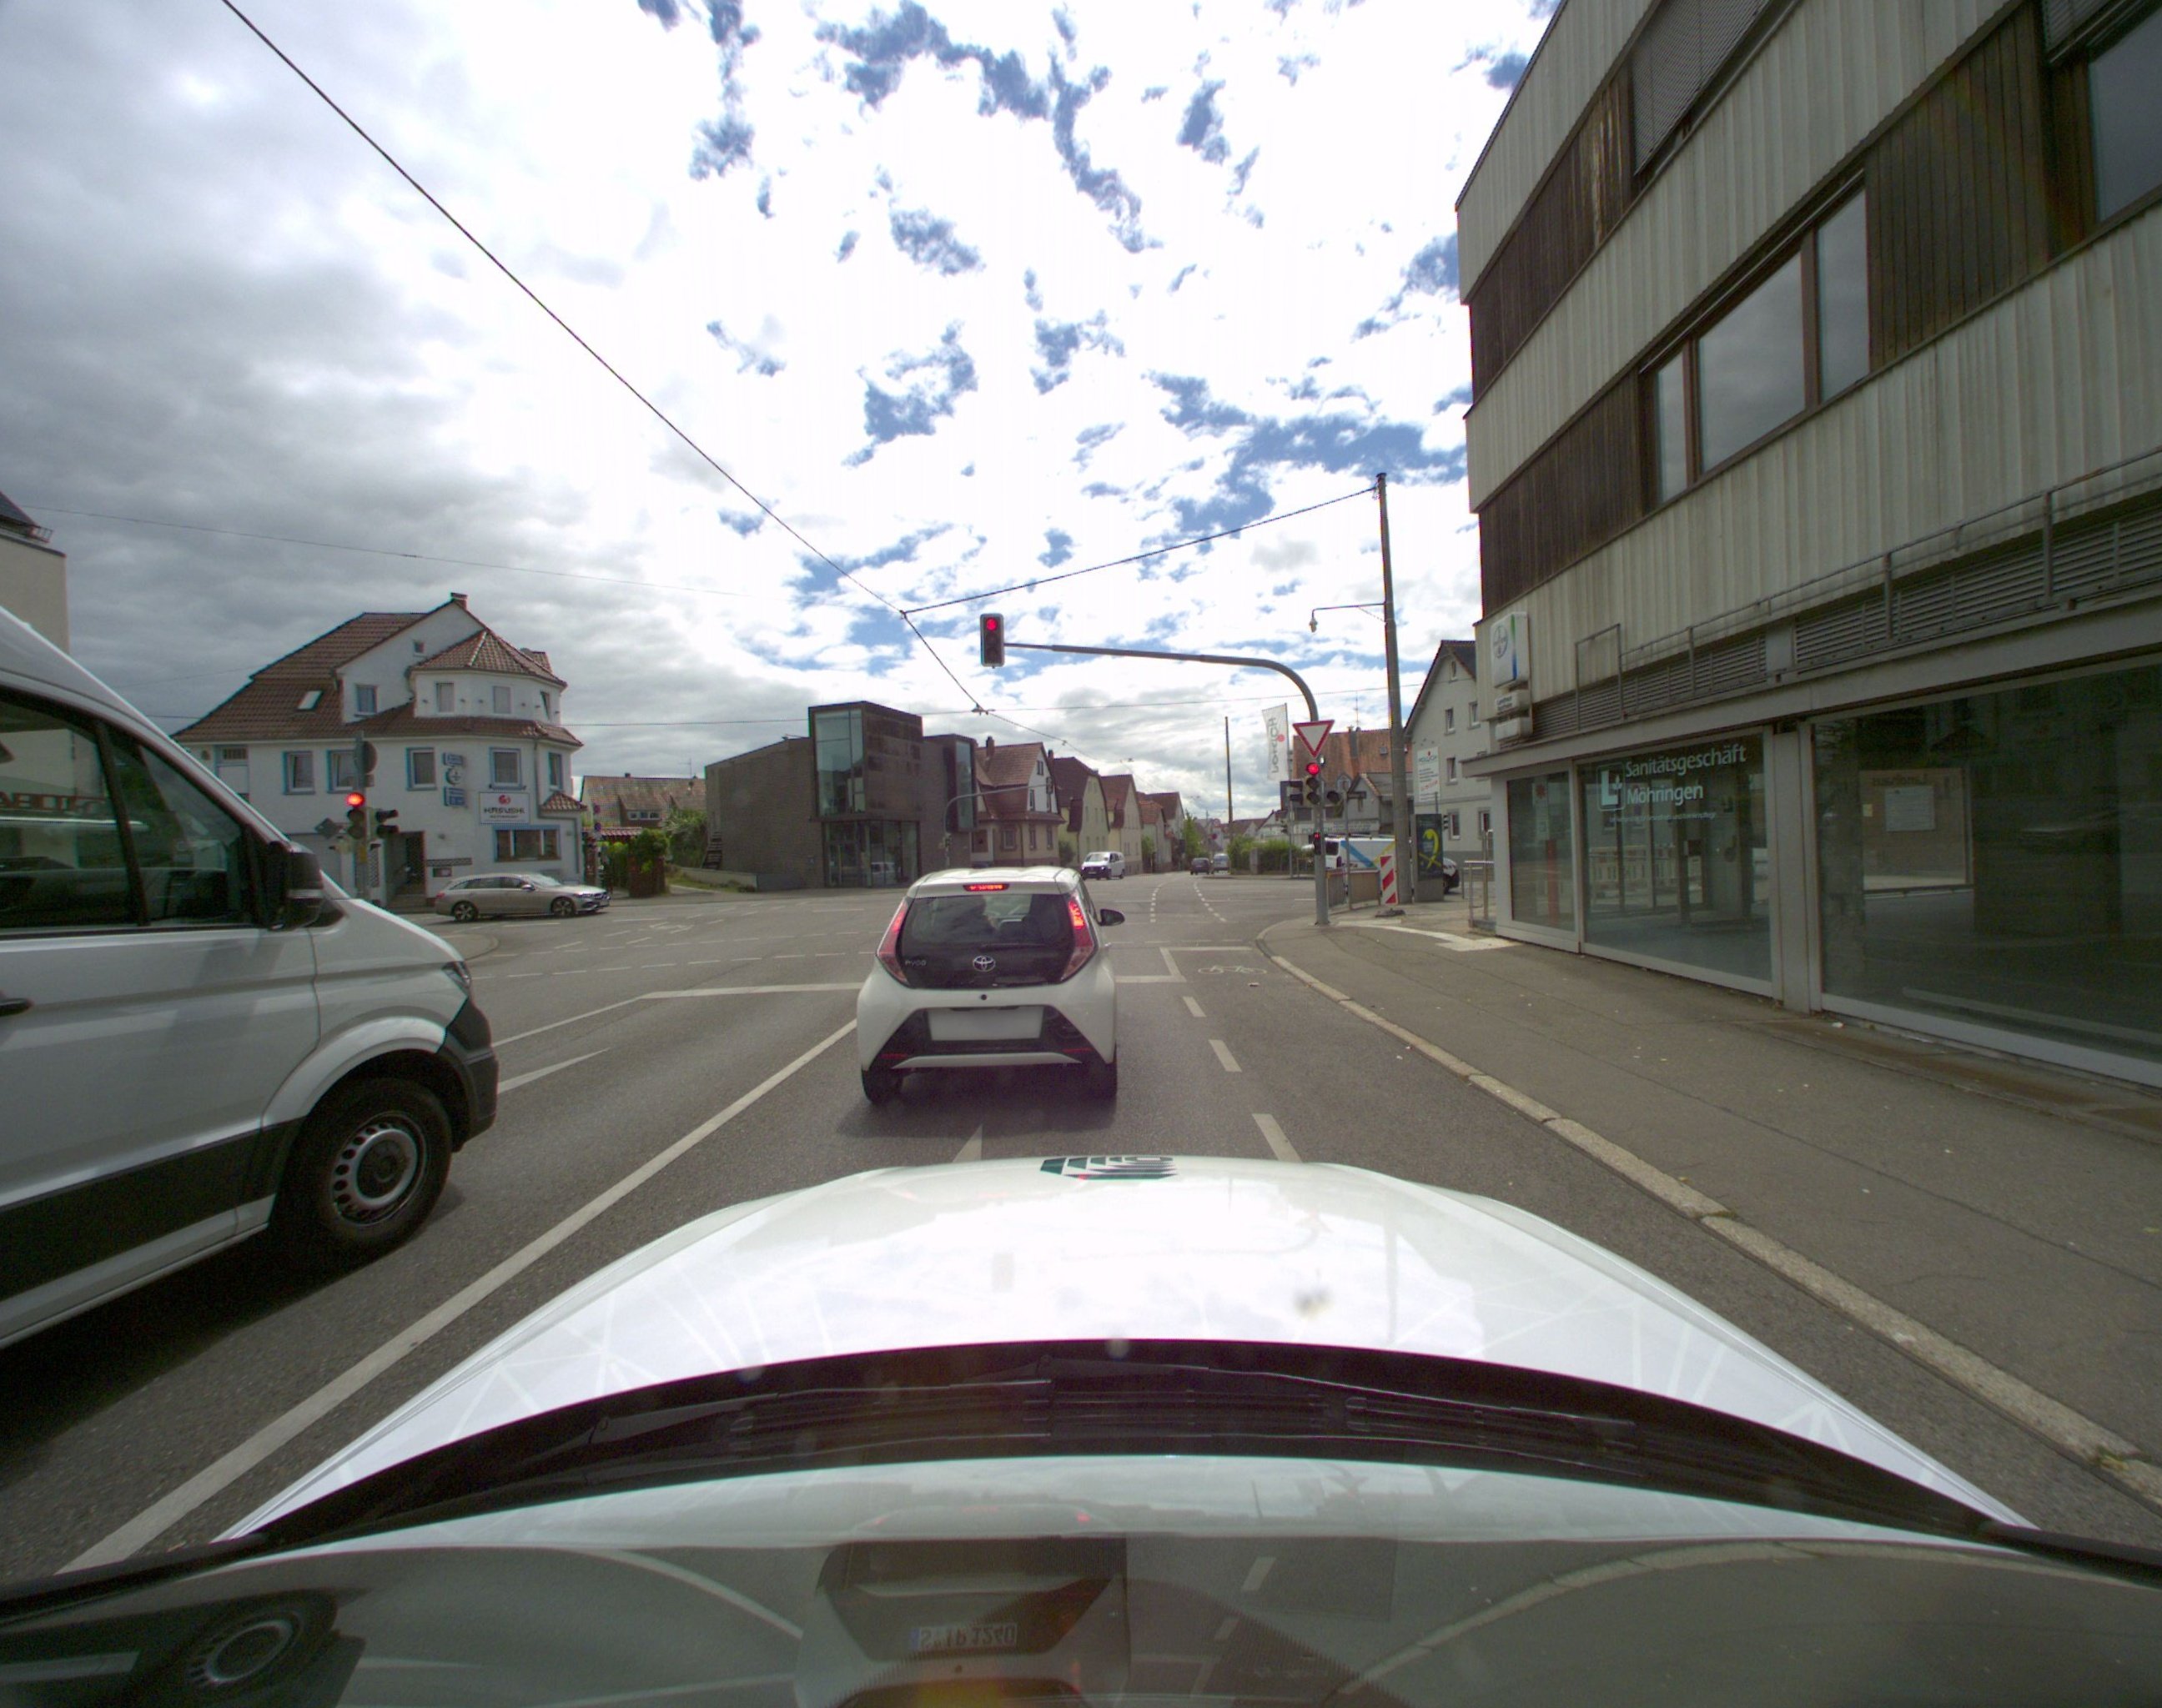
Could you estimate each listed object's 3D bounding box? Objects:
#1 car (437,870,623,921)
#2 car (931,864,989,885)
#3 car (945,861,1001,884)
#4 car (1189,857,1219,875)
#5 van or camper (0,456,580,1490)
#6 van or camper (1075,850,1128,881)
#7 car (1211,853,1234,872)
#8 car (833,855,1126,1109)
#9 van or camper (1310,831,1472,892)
[{"bbox_3d":[-17.373,1.274,25.870,4.494,1.456,1.893,-1,0,-6],"label":"car"},{"bbox_3d":[-8.479,1.449,57.122,3.589,1.419,1.697,-1,0,13],"label":"car"},{"bbox_3d":[-7.833,1.357,59.232,3.589,1.605,1.697,-1,0,13],"label":"car"},{"bbox_3d":[10.846,1.048,71.800,1.978,1.486,4.018,-1,0,18],"label":"car"},{"bbox_3d":[-3.717,0.319,1.324,2.018,2.580,5.922,-3,0,0],"label":"van or camper"},{"bbox_3d":[1.423,0.721,53.836,2.099,1.926,5.308,-1,0,17],"label":"van or camper"},{"bbox_3d":[14.583,0.865,83.625,1.979,1.849,4.089,-1,0,15],"label":"car"},{"bbox_3d":[-0.589,0.751,6.400,1.691,1.456,3.298,-1,0,0],"label":"car"},{"bbox_3d":[11.004,0.254,29.065,5.113,2.077,1.995,0,0,-8],"label":"van or camper"}]
